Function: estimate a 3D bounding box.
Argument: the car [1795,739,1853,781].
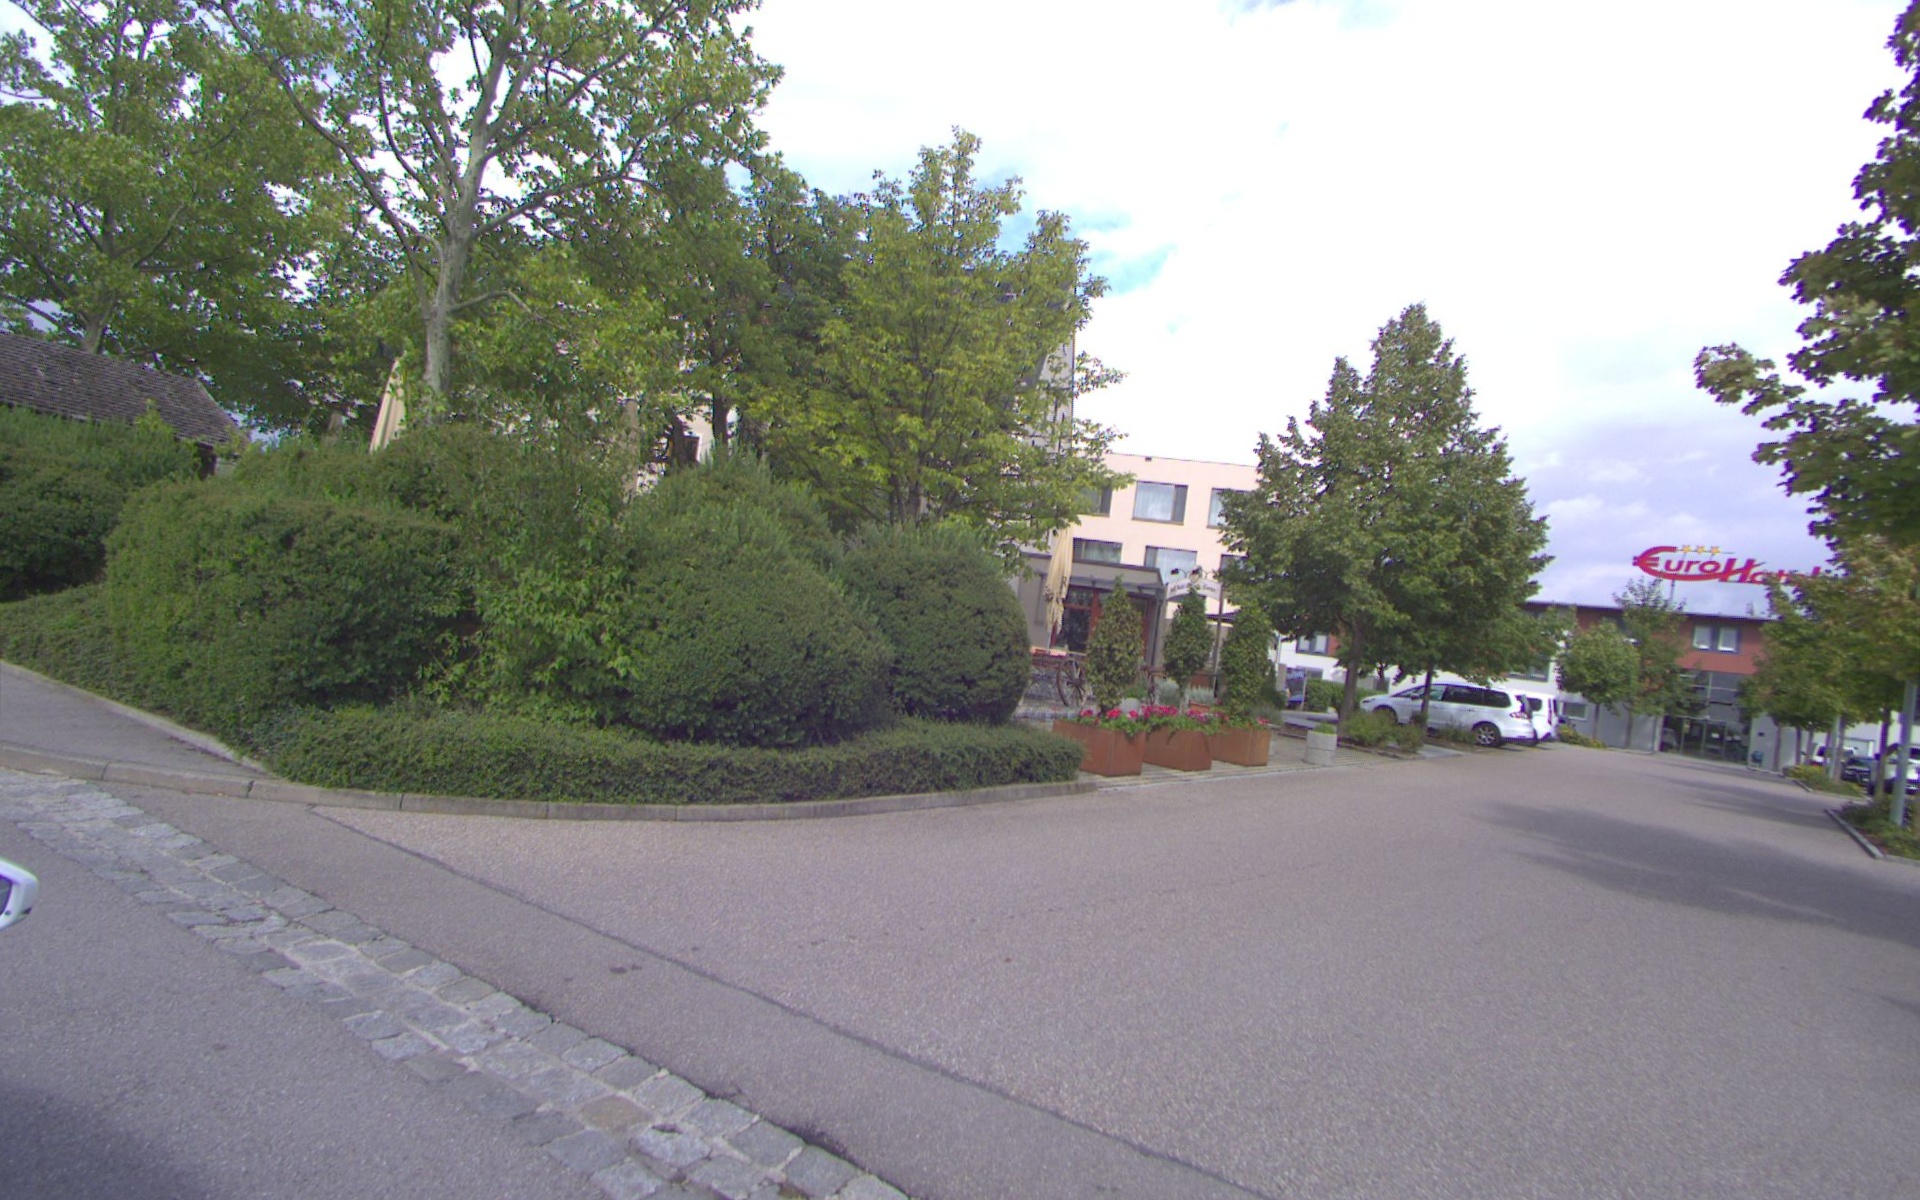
[{"bbox_3d":[44.613,8.230,52.019,1.648,1.802,3.993,7,-2,34],"label":"car"}]

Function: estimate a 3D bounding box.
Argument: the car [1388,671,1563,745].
[{"bbox_3d":[17.642,3.674,34.578,5.002,1.731,1.593,7,-2,38],"label":"car"}]

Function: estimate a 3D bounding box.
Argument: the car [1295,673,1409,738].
[{"bbox_3d":[16.273,4.380,41.788,3.934,2.037,1.997,7,-2,32],"label":"car"}]

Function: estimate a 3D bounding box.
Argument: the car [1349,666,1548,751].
[{"bbox_3d":[14.601,3.221,30.233,5.002,1.731,1.745,7,-2,38],"label":"car"}]

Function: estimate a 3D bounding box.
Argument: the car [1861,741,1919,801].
[{"bbox_3d":[27.395,4.938,28.762,1.795,1.517,3.839,7,-2,34],"label":"car"}]

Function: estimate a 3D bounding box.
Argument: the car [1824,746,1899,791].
[{"bbox_3d":[37.361,6.967,41.793,1.648,1.445,3.993,7,-2,34],"label":"car"}]
